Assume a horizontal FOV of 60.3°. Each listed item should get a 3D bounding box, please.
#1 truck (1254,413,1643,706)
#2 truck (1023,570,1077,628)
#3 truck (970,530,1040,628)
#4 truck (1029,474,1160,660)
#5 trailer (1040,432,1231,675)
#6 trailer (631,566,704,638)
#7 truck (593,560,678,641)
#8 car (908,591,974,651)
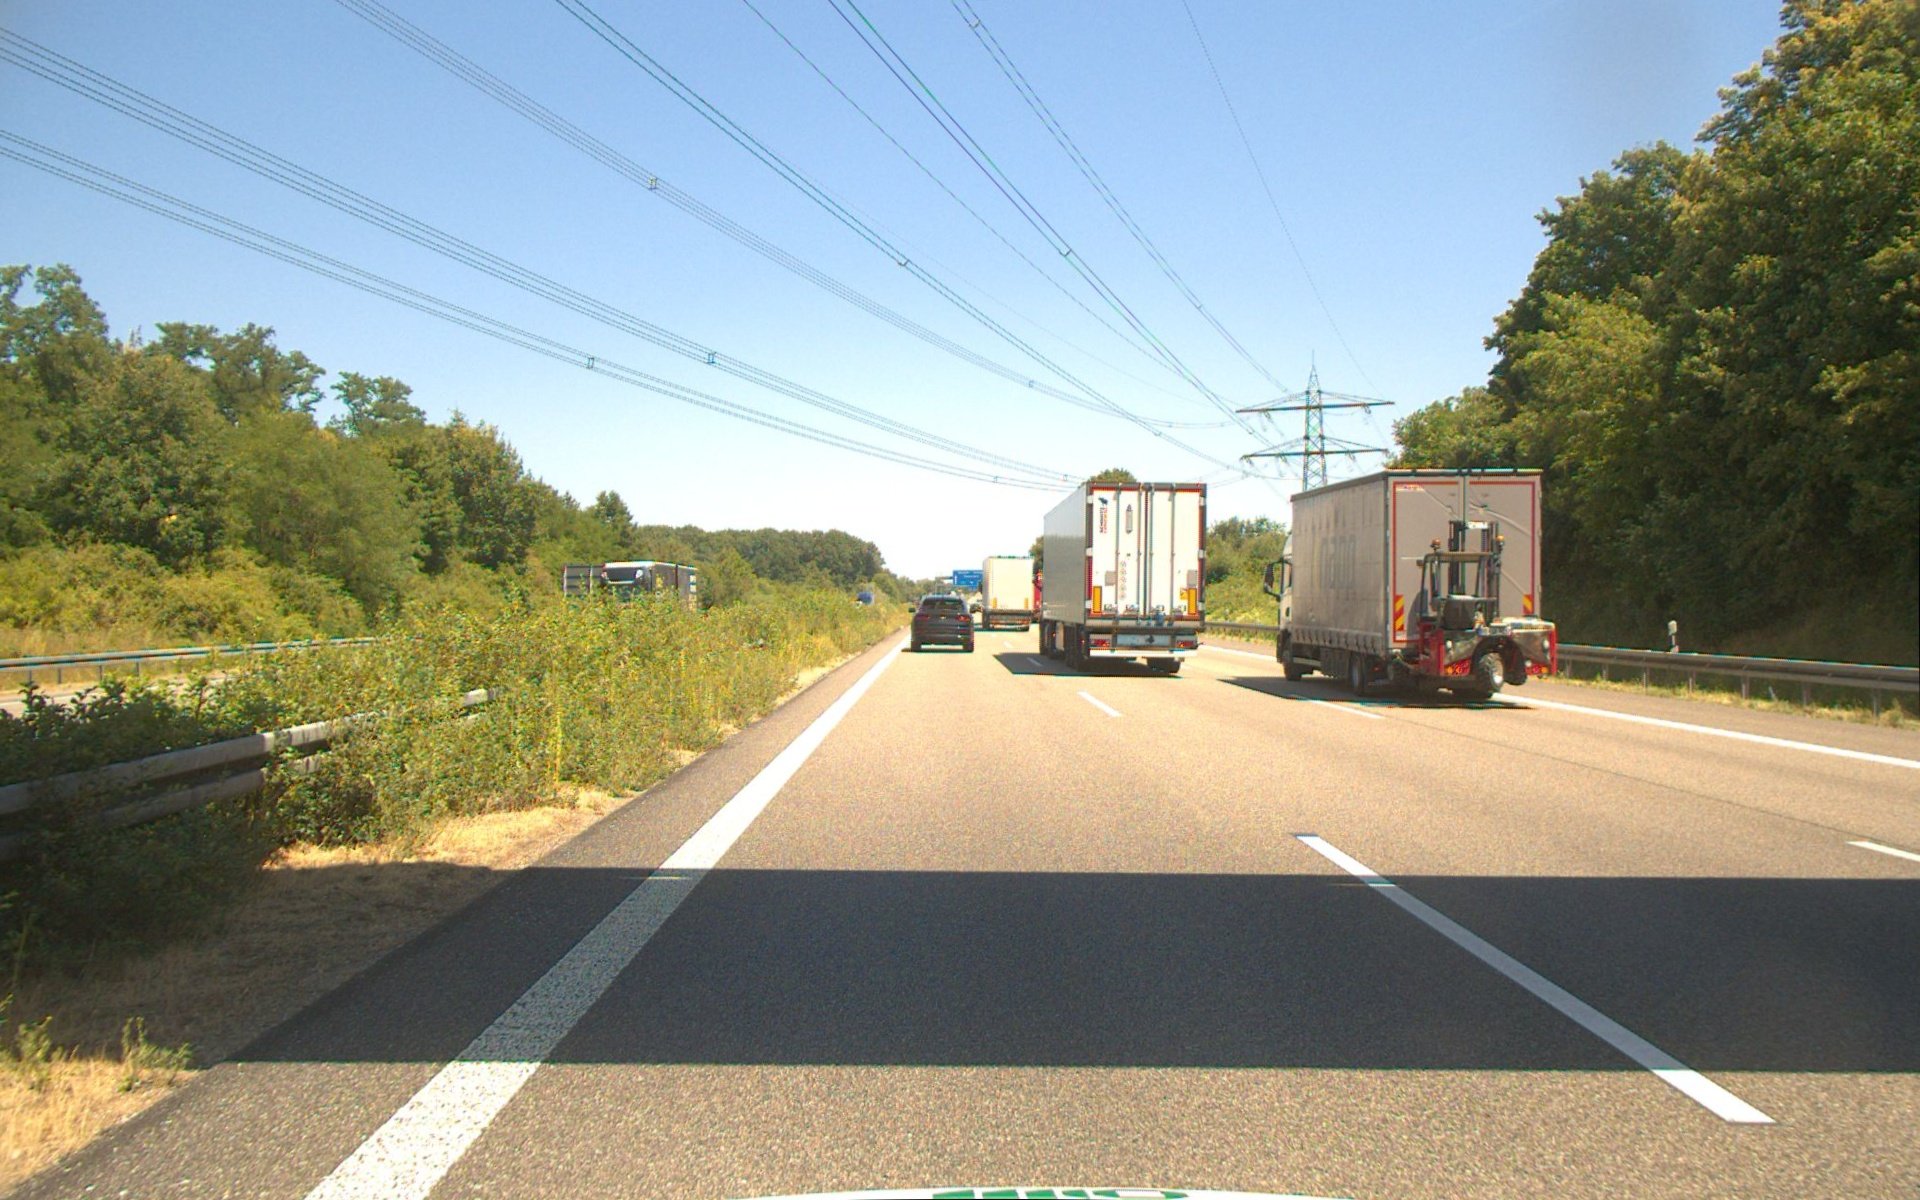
[{"bbox_3d":[8.399,-0.575,30.736,3.498,4.319,11.648,1,0,-1],"label":"truck"},{"bbox_3d":[7.392,-0.082,137.310,3.441,4.571,13.247,1,0,-1],"label":"truck"},{"bbox_3d":[2.450,-1.122,94.786,3.441,5.257,10.255,1,0,-1],"label":"truck"},{"bbox_3d":[3.803,-0.889,48.272,3.024,4.970,6.595,1,0,-1],"label":"truck"},{"bbox_3d":[3.945,-0.928,40.465,3.024,4.970,12.254,1,0,-1],"label":"trailer"},{"bbox_3d":[-17.970,0.127,102.214,2.710,4.167,10.296,-1,0,-1],"label":"trailer"},{"bbox_3d":[-17.893,0.075,91.929,2.702,4.194,10.214,-1,0,0],"label":"truck"},{"bbox_3d":[-0.627,0.627,51.966,1.953,1.803,3.998,0,0,-2],"label":"car"}]
